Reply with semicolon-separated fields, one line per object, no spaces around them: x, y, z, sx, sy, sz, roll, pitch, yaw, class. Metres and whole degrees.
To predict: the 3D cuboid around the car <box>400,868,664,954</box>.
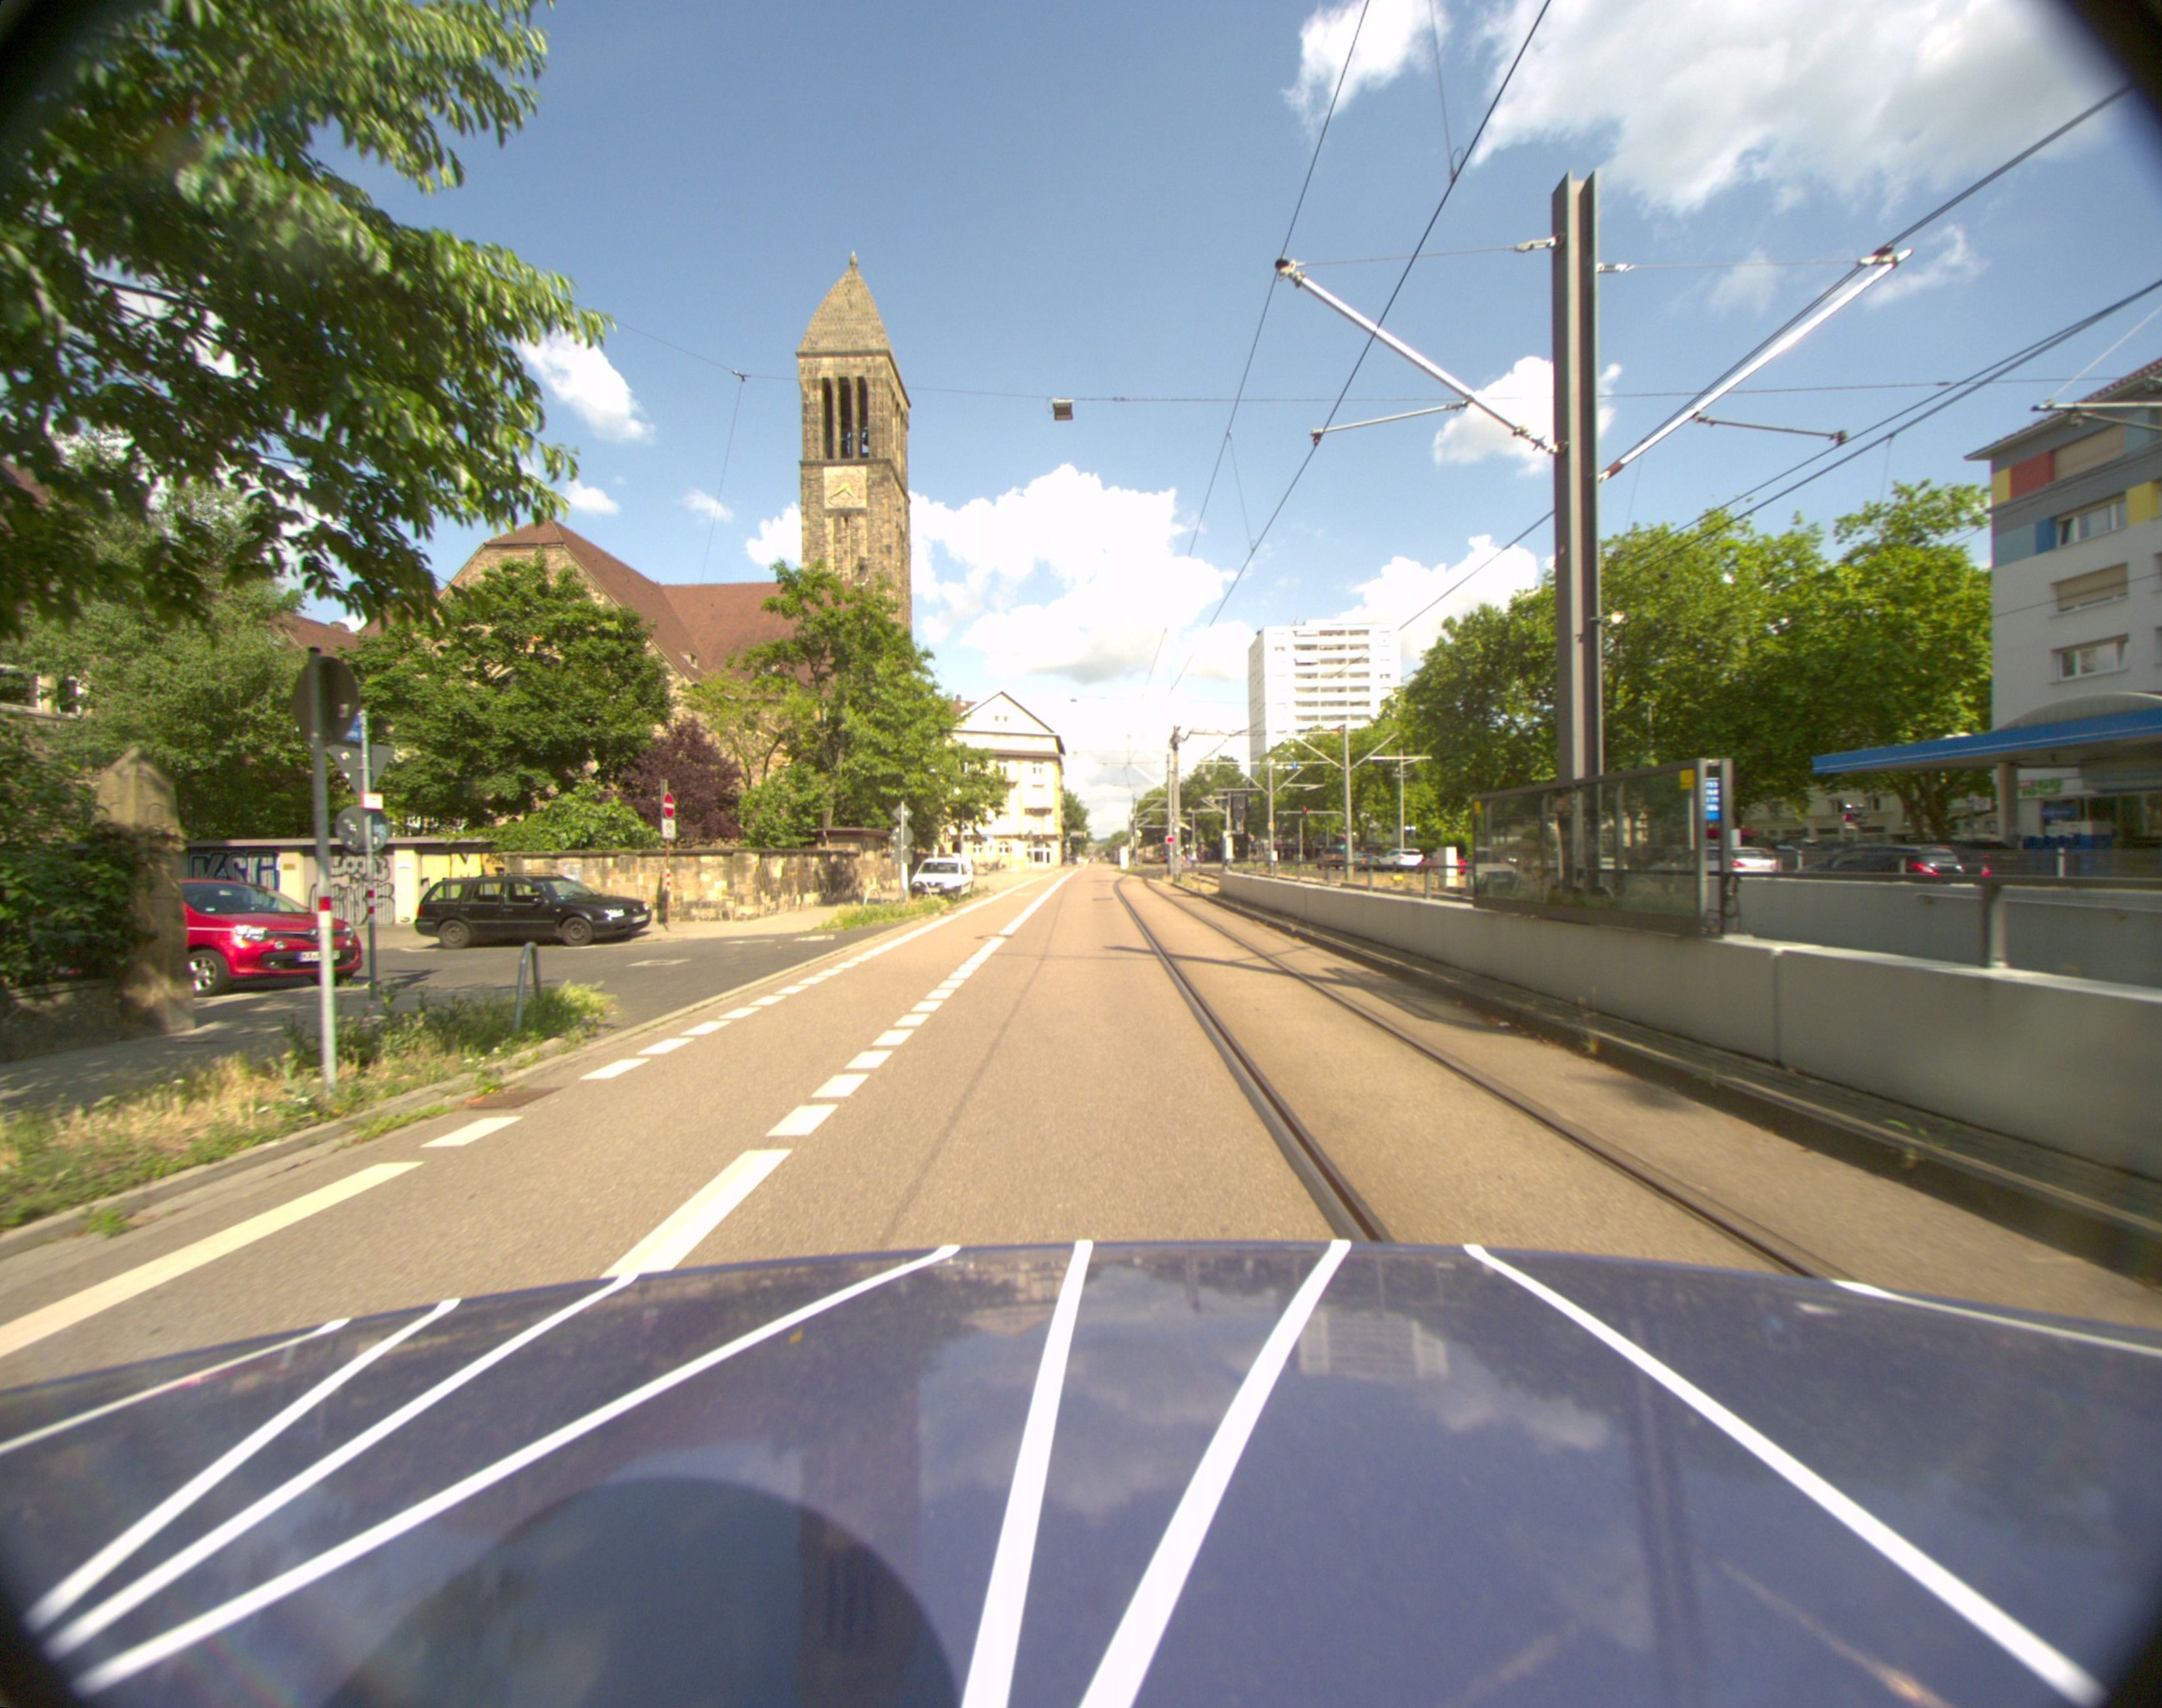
-11.574;1.166;16.237;4.263;1.547;1.756;-1;3;-1;car

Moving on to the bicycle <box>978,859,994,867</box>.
-12.313;1.143;98.757;1.930;1.013;0.539;-1;3;-21;bicycle

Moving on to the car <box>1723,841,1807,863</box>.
41.501;-0.117;46.207;1.477;1.286;4.000;1;0;0;car

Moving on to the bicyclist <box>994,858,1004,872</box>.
-9.180;1.249;84.799;0.923;1.494;0.651;-1;-2;-28;bicyclist

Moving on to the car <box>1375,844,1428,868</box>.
22.220;0.144;52.876;1.764;1.597;4.679;-1;0;1;car

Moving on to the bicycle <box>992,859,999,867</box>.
-10.962;1.172;97.182;0.602;1.013;1.876;0;2;2;bicycle

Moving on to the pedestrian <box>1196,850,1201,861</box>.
18.409;0.233;118.741;0.671;1.693;0.648;-1;1;3;pedestrian

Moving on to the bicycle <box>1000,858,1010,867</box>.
-9.951;1.125;99.061;0.611;1.013;1.872;-1;2;-27;bicycle

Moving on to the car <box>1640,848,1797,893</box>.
21.243;0.515;25.608;1.726;1.408;4.406;0;0;2;car

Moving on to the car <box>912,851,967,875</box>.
-11.118;0.687;60.013;4.013;1.813;1.863;-1;0;-2;car

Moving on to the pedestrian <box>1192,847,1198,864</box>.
11.660;0.131;77.800;0.528;1.722;0.557;0;0;-4;pedestrian

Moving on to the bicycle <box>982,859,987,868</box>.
-12.253;1.209;96.848;0.540;1.013;1.926;-1;2;-10;bicycle

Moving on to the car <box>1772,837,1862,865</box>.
44.174;-0.170;45.739;1.529;1.594;4.000;0;0;0;car

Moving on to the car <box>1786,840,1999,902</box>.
20.532;0.401;19.486;1.672;1.408;3.784;-1;0;6;car

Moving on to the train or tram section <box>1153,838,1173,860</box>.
13.989;-0.874;129.935;2.802;3.540;11.379;-1;0;3;train or tram section

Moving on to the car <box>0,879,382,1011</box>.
-12.111;1.175;10.307;3.750;1.546;1.757;-1;0;4;car

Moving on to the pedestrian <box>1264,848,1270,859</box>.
28.821;-0.106;117.772;0.671;1.693;0.648;-1;1;3;pedestrian

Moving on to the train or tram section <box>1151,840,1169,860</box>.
14.595;-0.704;141.218;2.812;3.540;11.183;-1;0;3;train or tram section

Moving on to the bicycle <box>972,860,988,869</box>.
-12.658;1.272;95.047;1.932;1.013;0.538;-2;3;-41;bicycle

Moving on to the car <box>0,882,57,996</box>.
-17.569;1.269;10.541;4.265;1.607;1.832;-1;0;1;car

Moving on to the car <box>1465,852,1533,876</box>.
21.627;0.494;39.489;1.620;1.182;3.634;-1;0;2;car

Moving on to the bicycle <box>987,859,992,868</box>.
-11.747;1.177;97.180;0.540;1.013;1.926;-1;2;-10;bicycle

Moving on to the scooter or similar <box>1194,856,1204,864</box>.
12.088;0.608;77.829;0.840;0.799;0.553;-1;0;-4;scooter or similar

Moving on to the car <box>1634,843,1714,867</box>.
35.811;0.063;46.012;1.757;1.402;4.000;-1;0;0;car

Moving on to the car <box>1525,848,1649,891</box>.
21.687;0.665;32.871;1.952;1.597;5.077;-3;-1;1;car

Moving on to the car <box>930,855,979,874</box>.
-10.494;0.871;63.340;3.776;1.538;1.798;-1;0;-1;car

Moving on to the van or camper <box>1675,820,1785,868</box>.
38.646;-0.560;45.465;2.107;2.626;5.350;1;0;2;van or camper

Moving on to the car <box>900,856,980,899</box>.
-5.159;0.815;28.337;1.671;1.408;3.847;-3;0;9;car

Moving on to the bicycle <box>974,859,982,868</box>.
-13.264;1.221;97.754;0.541;1.013;1.924;-1;3;-25;bicycle

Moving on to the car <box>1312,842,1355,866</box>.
22.385;0.052;67.510;2.080;1.974;5.337;-1;-1;1;car

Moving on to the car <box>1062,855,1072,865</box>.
-2.632;1.103;143.740;1.851;1.779;4.000;1;0;0;car

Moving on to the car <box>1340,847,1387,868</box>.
22.365;0.279;60.421;1.871;1.642;5.154;0;0;1;car

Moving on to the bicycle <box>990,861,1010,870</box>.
-9.021;1.243;84.921;2.138;0.983;0.651;-1;0;-34;bicycle

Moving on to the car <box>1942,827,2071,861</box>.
55.435;-0.553;45.694;1.999;1.923;4.682;1;0;0;car

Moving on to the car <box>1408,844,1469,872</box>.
21.537;0.291;45.975;1.716;1.597;4.145;-1;-1;1;car
